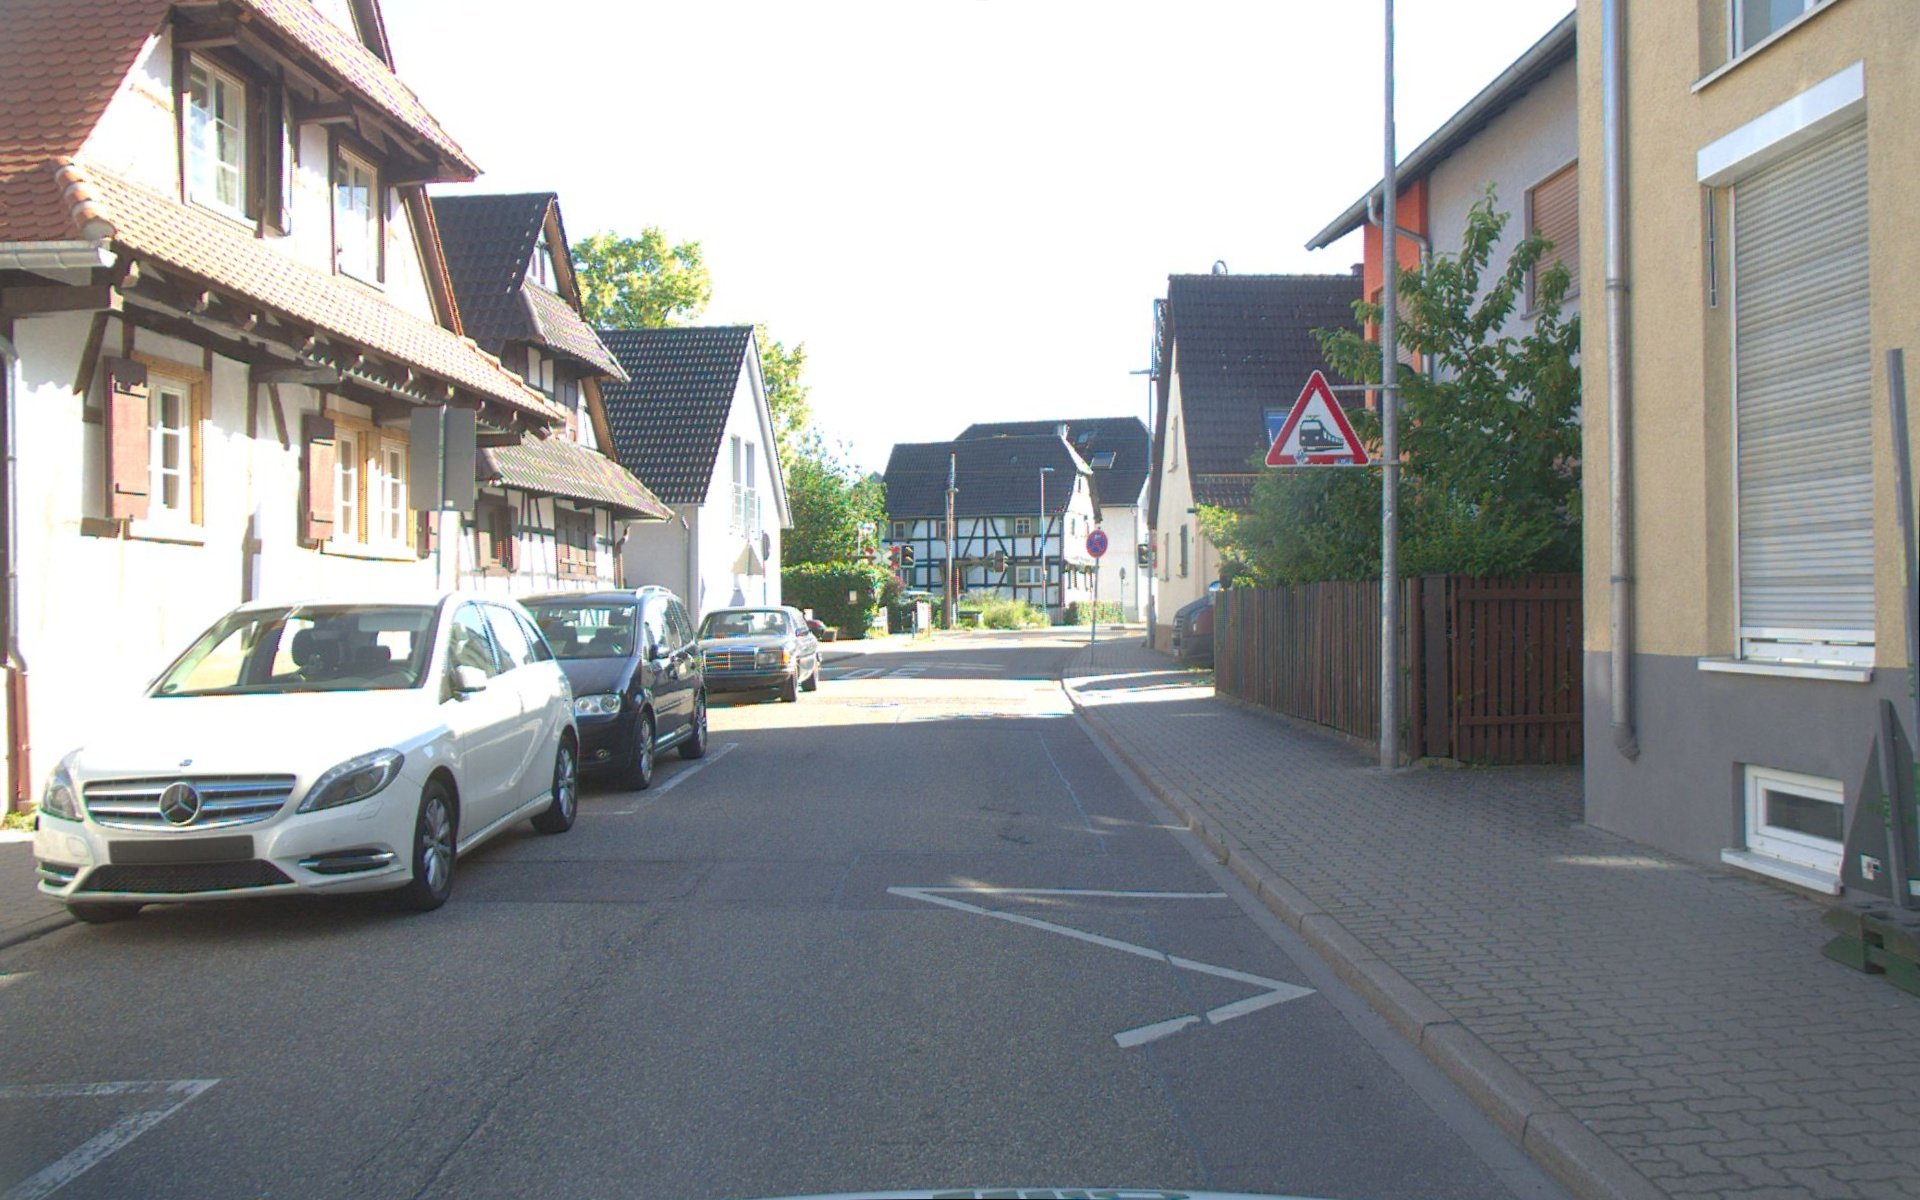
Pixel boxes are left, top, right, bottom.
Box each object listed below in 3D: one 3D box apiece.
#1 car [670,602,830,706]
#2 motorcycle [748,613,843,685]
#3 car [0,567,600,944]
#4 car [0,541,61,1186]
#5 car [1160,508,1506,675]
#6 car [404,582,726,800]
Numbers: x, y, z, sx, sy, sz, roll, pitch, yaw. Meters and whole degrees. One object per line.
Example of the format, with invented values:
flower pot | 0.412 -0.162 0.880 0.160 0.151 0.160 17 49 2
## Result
car | -3.208 0.801 26.223 1.806 1.431 5.036 -2 -1 1
motorcycle | -2.989 0.871 29.918 0.622 1.253 1.961 -1 0 -45
car | -3.372 0.690 9.182 1.779 1.594 4.168 -1 -1 1
car | -3.250 0.659 2.490 1.707 1.642 3.998 -1 -1 -2
car | 6.635 -0.138 29.812 5.688 2.701 1.966 -2 -1 -3
car | -3.293 0.700 14.680 1.747 1.633 4.361 -1 0 1
